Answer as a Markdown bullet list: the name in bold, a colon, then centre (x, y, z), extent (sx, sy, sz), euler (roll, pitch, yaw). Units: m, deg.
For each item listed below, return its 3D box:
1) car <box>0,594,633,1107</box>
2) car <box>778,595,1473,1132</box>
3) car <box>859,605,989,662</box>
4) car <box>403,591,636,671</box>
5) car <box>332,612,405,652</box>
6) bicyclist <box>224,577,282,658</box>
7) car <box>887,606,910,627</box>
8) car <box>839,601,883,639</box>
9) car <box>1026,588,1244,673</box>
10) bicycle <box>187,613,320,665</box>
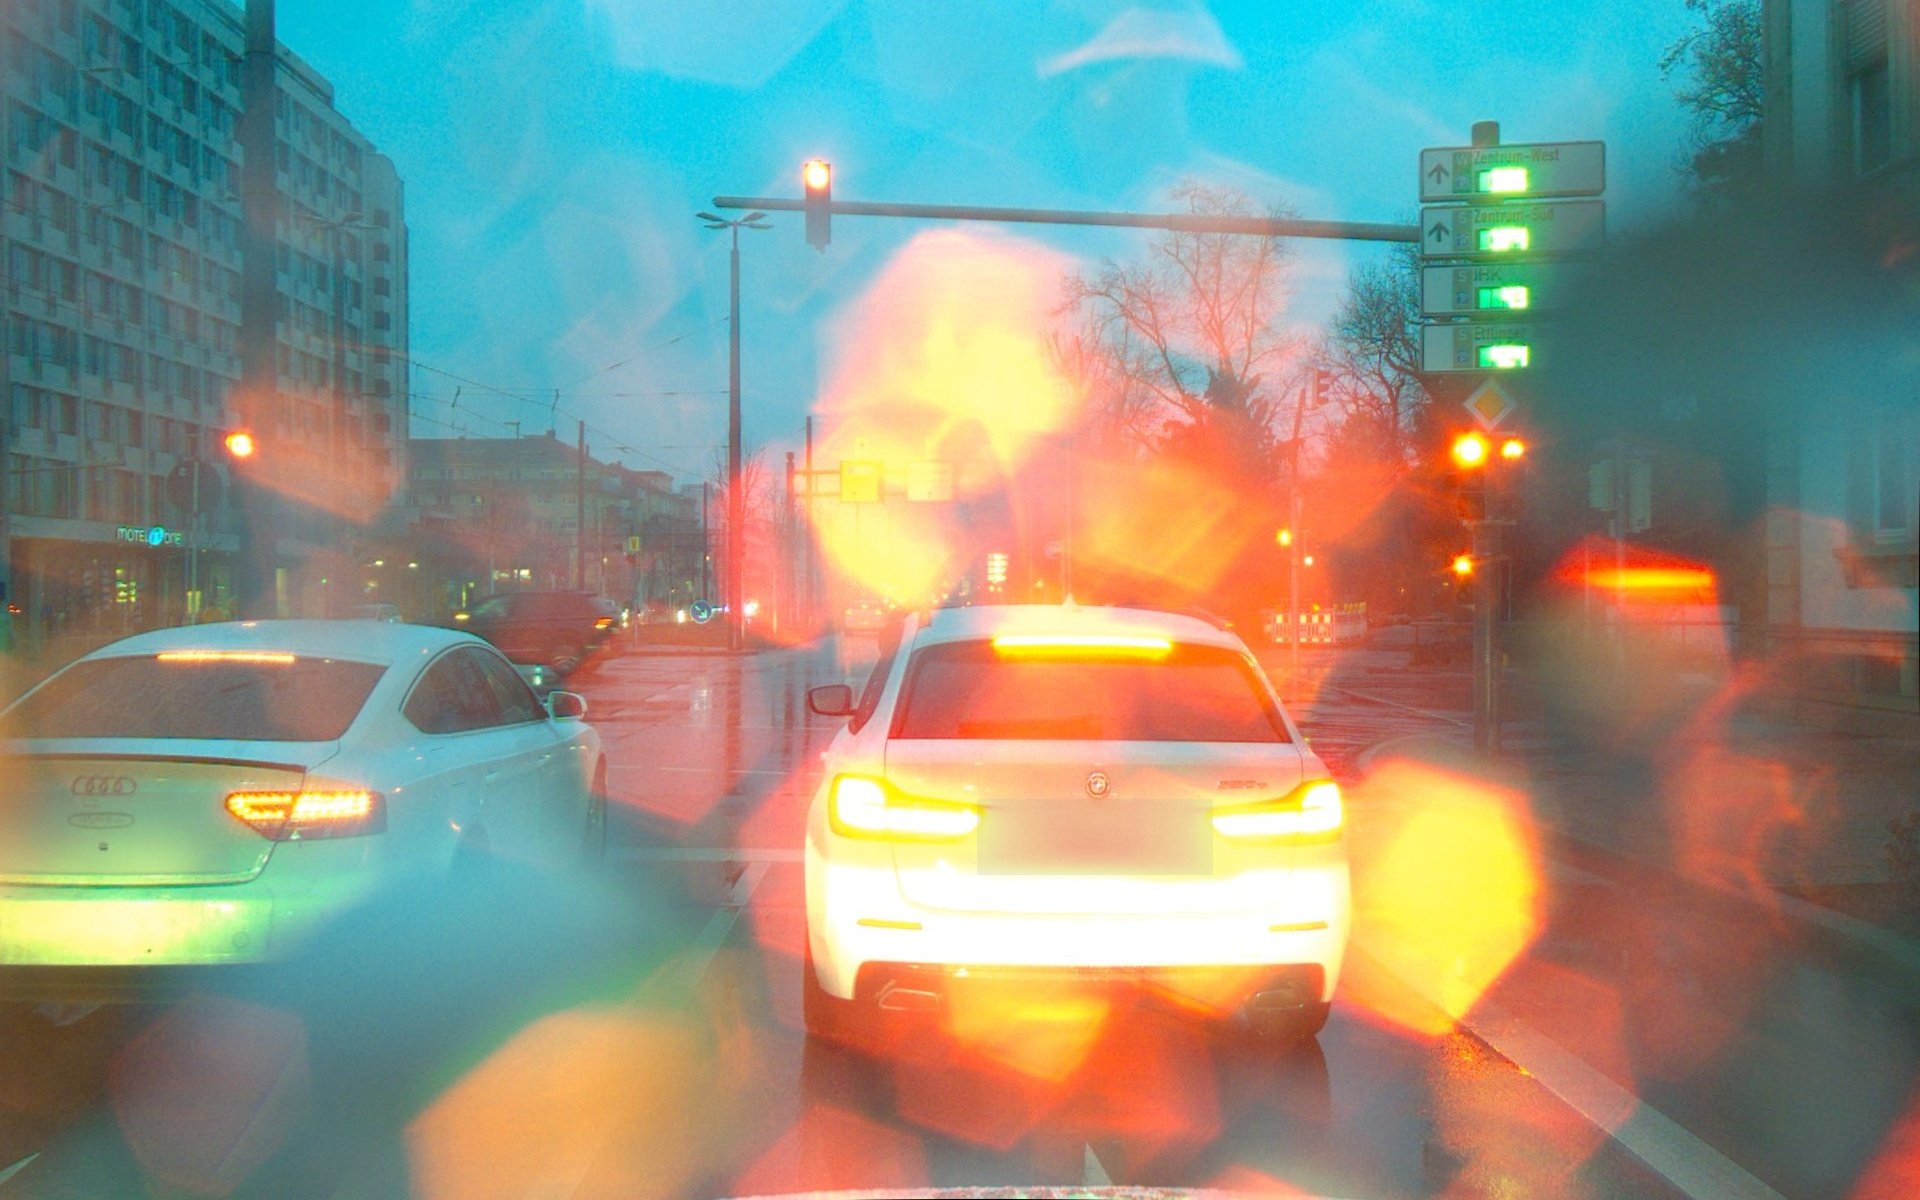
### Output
- **car**: centre (-2.706, 0.722, 6.991), extent (1.954, 1.481, 4.366), euler (0, 0, -3)
- **car**: centre (0.376, 0.731, 6.820), extent (1.954, 1.481, 4.366), euler (0, 0, -3)
- **car**: centre (-1.020, 0.893, 44.553), extent (1.735, 1.426, 3.956), euler (2, -1, -32)
- **car**: centre (-8.534, 0.601, 32.263), extent (4.008, 1.466, 1.840), euler (0, -1, 1)
- **car**: centre (-23.912, 1.274, 67.011), extent (1.641, 1.534, 3.695), euler (1, -1, -1)
- **bicyclist**: centre (-15.981, 0.393, 37.420), extent (0.953, 1.789, 0.812), euler (1, -1, -6)
- **car**: centre (-5.038, 1.344, 136.218), extent (1.806, 1.637, 3.943), euler (1, -1, -2)
- **car**: centre (-4.476, 0.898, 74.395), extent (1.710, 1.581, 3.961), euler (2, -1, -7)
- **car**: centre (3.400, 0.572, 31.806), extent (4.005, 1.556, 1.841), euler (0, -1, 11)
- **bicycle**: centre (-15.954, 0.878, 37.408), extent (2.616, 1.108, 0.814), euler (2, -1, -7)
